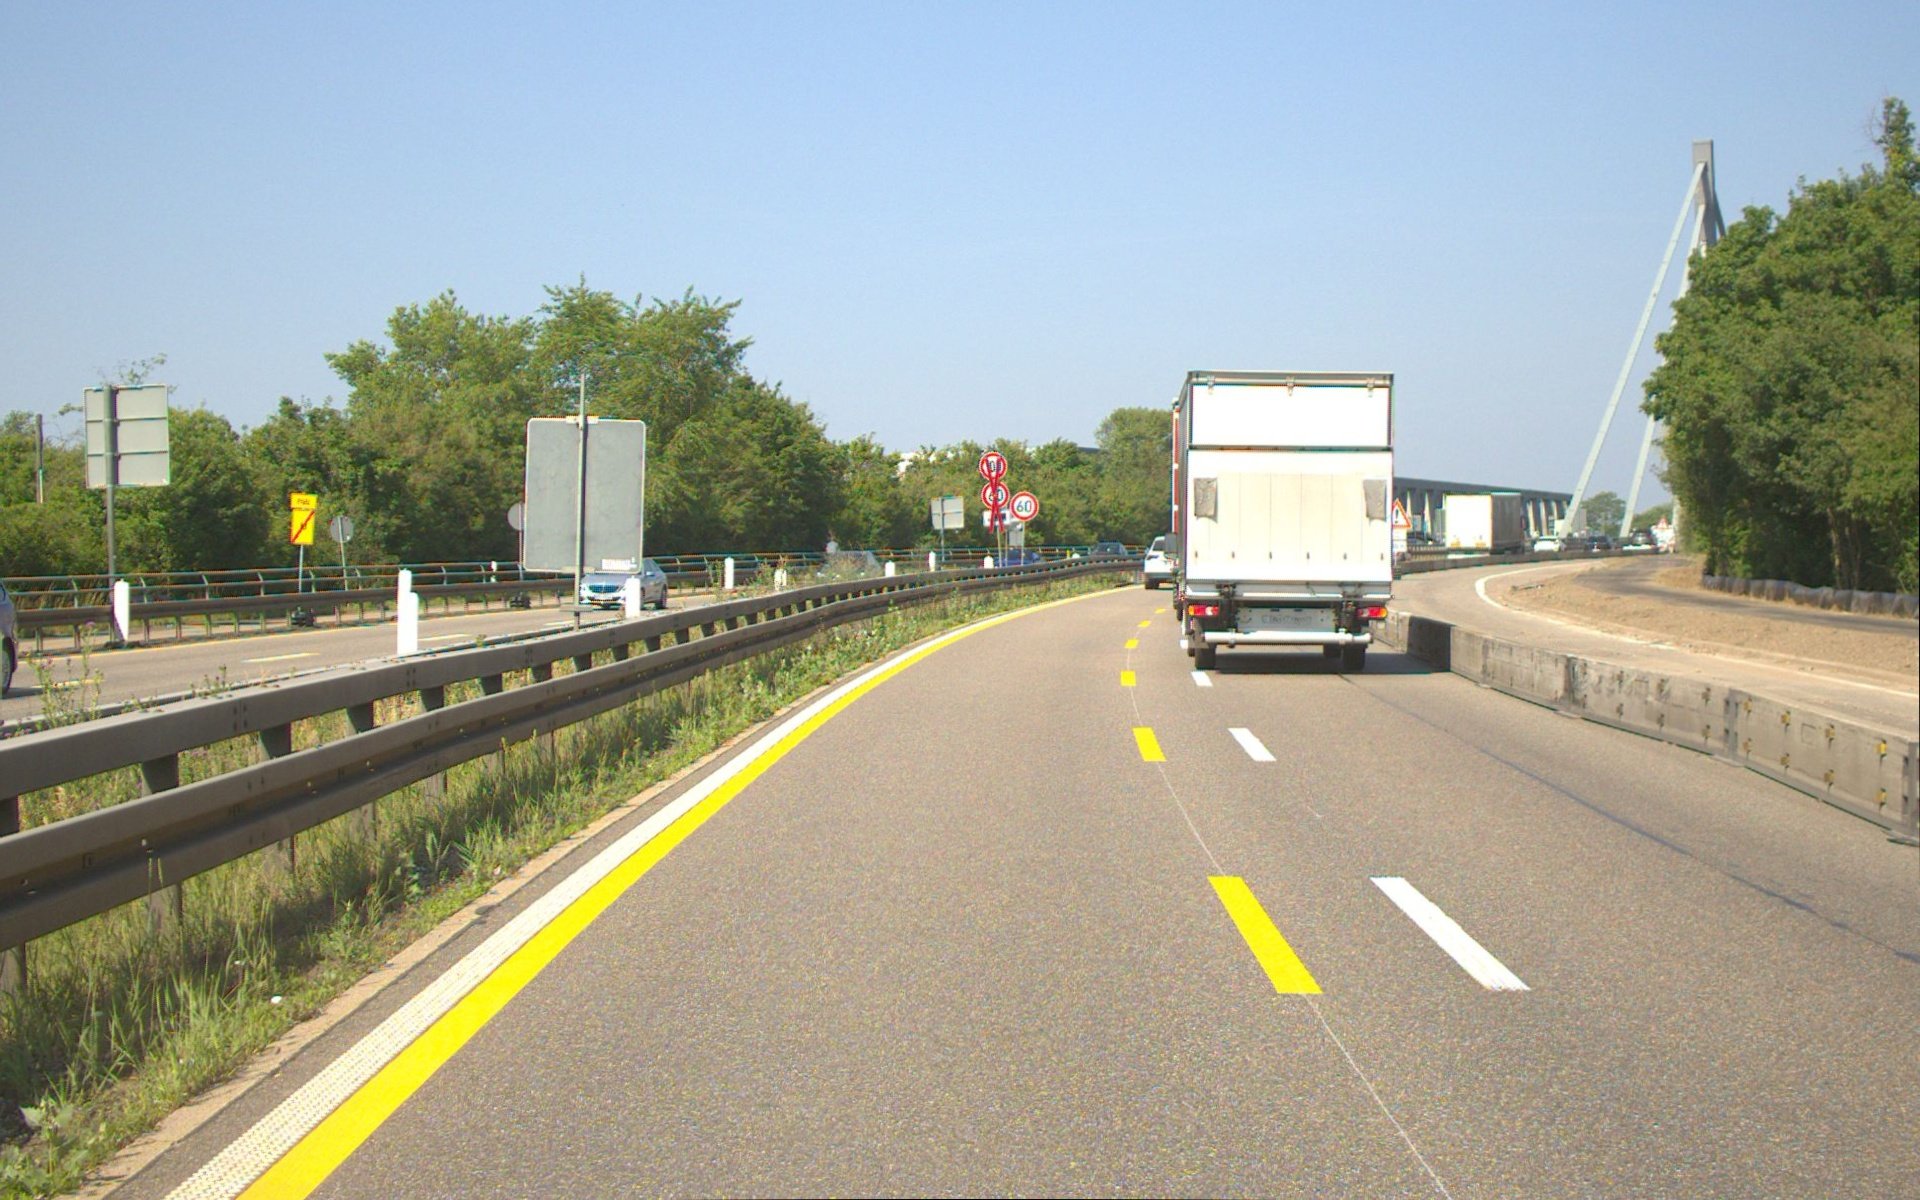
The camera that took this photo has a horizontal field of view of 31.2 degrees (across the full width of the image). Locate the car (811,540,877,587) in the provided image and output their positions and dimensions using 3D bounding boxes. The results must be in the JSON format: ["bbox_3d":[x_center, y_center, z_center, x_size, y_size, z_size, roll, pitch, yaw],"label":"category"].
[{"bbox_3d":[-3.833,-1.230,114.011,1.738,1.493,4.000,-1,1,4],"label":"car"}]

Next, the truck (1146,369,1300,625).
[{"bbox_3d":[4.845,-1.883,64.089,2.634,4.453,7.232,1,1,4],"label":"truck"}]

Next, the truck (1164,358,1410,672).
[{"bbox_3d":[3.889,-1.004,41.416,2.635,3.416,7.232,1,1,5],"label":"truck"}]

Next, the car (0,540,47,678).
[{"bbox_3d":[-13.091,0.156,42.678,1.909,1.728,5.020,-2,1,3],"label":"car"}]

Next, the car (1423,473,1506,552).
[{"bbox_3d":[29.094,-5.072,197.822,4.209,4.237,10.657,-2,1,11],"label":"car"}]

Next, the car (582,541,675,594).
[{"bbox_3d":[-9.301,-0.943,96.851,1.885,1.415,4.859,-1,1,3],"label":"car"}]
